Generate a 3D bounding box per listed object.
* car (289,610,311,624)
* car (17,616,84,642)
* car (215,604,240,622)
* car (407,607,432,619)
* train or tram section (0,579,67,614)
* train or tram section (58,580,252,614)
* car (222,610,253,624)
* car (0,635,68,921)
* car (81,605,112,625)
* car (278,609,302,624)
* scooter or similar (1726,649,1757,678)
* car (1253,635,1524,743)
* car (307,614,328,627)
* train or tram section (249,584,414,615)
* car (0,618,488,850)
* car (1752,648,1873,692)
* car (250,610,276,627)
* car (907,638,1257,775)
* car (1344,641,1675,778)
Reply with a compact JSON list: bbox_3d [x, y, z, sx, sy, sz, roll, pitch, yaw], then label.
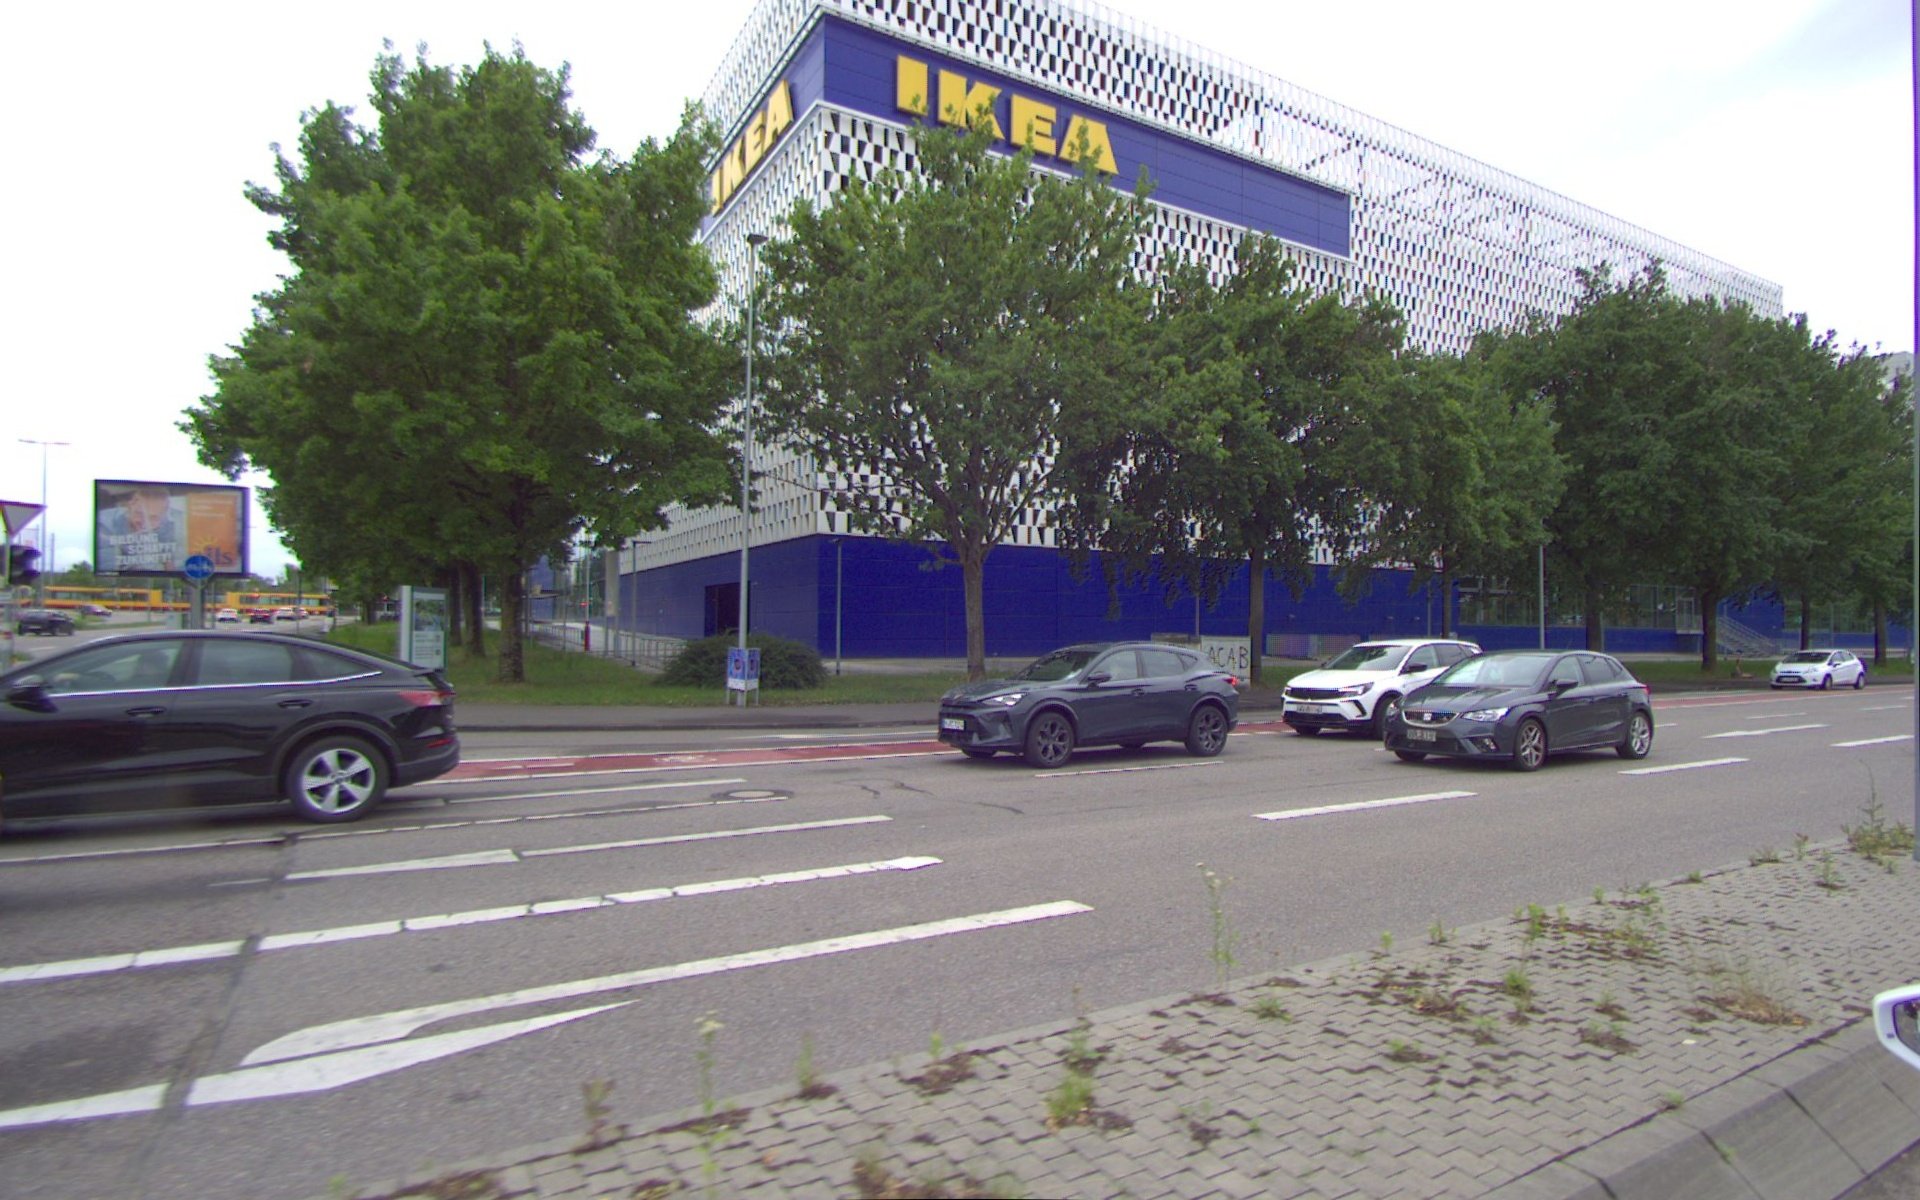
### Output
[{"bbox_3d":[-88.157,2.278,134.236,1.823,1.911,3.902,0,-1,-24],"label":"car"},{"bbox_3d":[-52.007,1.674,57.536,1.704,1.389,3.975,2,-3,-25],"label":"car"},{"bbox_3d":[-91.809,1.660,125.954,1.976,2.249,3.969,1,-1,-29],"label":"car"},{"bbox_3d":[-96.877,2.323,180.045,3.951,2.041,1.985,-1,1,-29],"label":"car"},{"bbox_3d":[-143.149,-0.549,143.346,23.014,4.903,3.603,0,0,-31],"label":"train or tram section"},{"bbox_3d":[-123.512,-0.346,155.026,23.014,4.903,3.603,0,0,-31],"label":"train or tram section"},{"bbox_3d":[-79.470,1.920,110.576,1.761,1.471,3.914,2,-1,-21],"label":"car"},{"bbox_3d":[-6.878,0.865,4.462,4.033,1.507,1.726,3,-3,-32],"label":"car"},{"bbox_3d":[-101.718,1.773,118.420,1.976,2.272,3.969,1,-1,-29],"label":"car"},{"bbox_3d":[-86.192,2.119,129.292,1.823,1.911,3.902,2,-2,-24],"label":"car"},{"bbox_3d":[34.641,2.787,44.510,1.363,1.212,0.651,1,0,-33],"label":"scooter or similar"},{"bbox_3d":[7.448,1.476,17.371,4.524,1.615,1.985,1,-5,-31],"label":"car"},{"bbox_3d":[-90.645,2.921,141.768,1.822,1.742,3.903,-1,0,-23],"label":"car"},{"bbox_3d":[-103.743,0.000,166.767,23.014,4.903,3.603,0,0,-31],"label":"train or tram section"},{"bbox_3d":[-6.513,1.056,8.584,4.286,1.658,1.871,2,-5,-32],"label":"car"},{"bbox_3d":[31.552,2.538,37.176,4.275,1.481,1.851,0,-3,-27],"label":"car"},{"bbox_3d":[-75.920,2.019,109.487,1.826,1.677,4.328,3,-2,-29],"label":"car"},{"bbox_3d":[1.718,1.346,13.525,4.548,1.564,1.870,3,-4,-32],"label":"car"},{"bbox_3d":[7.207,1.306,13.087,4.281,1.481,1.848,1,-3,-31],"label":"car"}]
